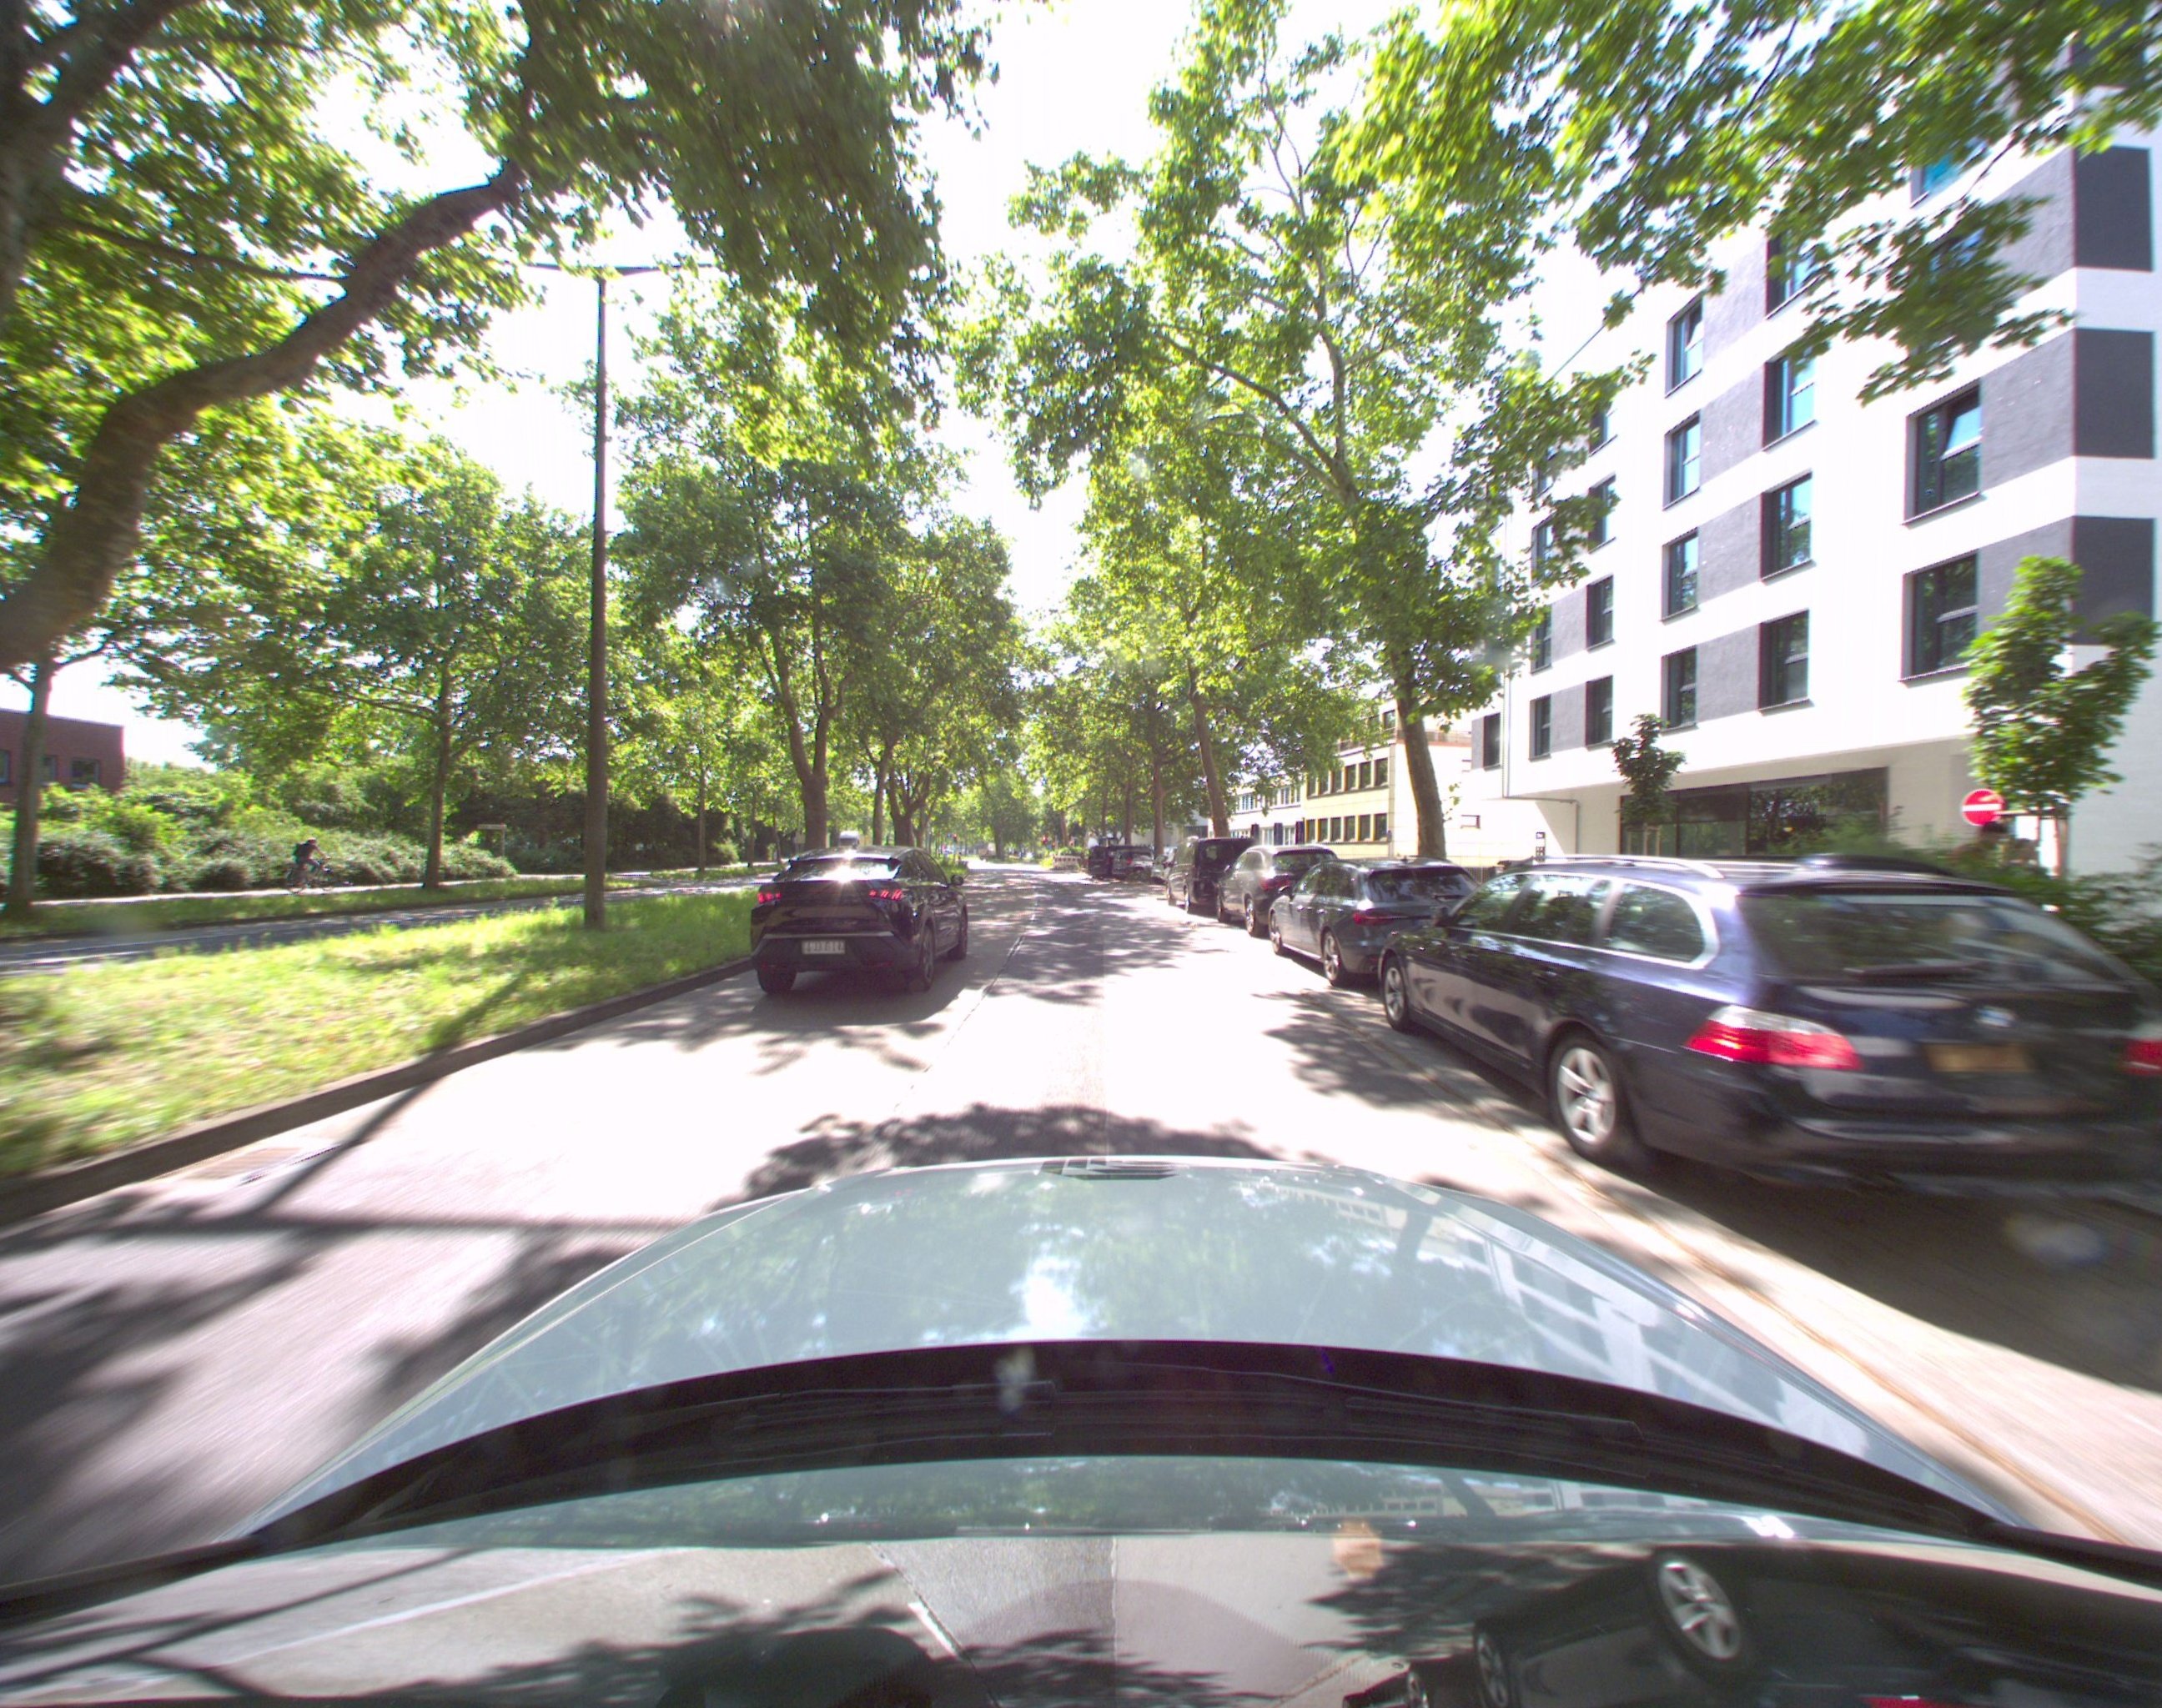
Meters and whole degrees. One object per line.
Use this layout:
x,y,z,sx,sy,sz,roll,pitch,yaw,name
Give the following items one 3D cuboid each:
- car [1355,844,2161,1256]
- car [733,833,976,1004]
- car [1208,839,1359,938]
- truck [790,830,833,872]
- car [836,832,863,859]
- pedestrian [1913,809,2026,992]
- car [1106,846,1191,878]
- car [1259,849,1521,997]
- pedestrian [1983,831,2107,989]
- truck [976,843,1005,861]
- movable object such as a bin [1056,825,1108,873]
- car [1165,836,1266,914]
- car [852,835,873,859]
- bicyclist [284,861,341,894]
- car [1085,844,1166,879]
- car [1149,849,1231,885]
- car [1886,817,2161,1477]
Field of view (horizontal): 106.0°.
3.301,0.689,5.238,1.700,1.455,4.658,0,0,3,car
-2.588,0.653,10.512,1.866,1.696,4.435,-1,0,0,car
3.798,0.582,16.110,1.702,1.669,4.529,0,0,-2,car
-23.818,-0.333,72.235,2.451,3.449,7.074,2,1,-10,truck
-31.724,-1.217,111.853,2.449,3.449,7.079,2,1,-8,car
9.097,0.456,8.355,0.474,1.808,0.637,0,0,1,pedestrian
3.523,0.429,42.740,4.111,1.633,1.702,0,0,-19,car
3.619,0.687,10.475,1.701,1.487,4.484,0,0,0,car
9.943,0.559,8.416,0.611,1.581,0.570,0,0,1,pedestrian
-18.079,-0.392,162.876,5.515,3.678,1.997,0,0,-4,truck
0.045,-0.351,56.939,2.341,3.241,3.400,0,0,-28,movable object such as a bin
3.390,0.485,21.460,1.702,1.841,4.722,0,0,-2,car
-33.019,-1.017,123.321,2.056,3.434,6.753,0,0,-7,car
-24.794,0.740,26.284,0.426,1.013,1.426,0,0,3,bicyclist
2.425,0.403,44.714,4.113,1.880,1.773,0,0,-20,car
5.058,0.590,38.128,3.547,1.640,1.656,0,0,-6,car
3.222,0.668,0.422,1.700,1.487,4.103,0,0,3,car
